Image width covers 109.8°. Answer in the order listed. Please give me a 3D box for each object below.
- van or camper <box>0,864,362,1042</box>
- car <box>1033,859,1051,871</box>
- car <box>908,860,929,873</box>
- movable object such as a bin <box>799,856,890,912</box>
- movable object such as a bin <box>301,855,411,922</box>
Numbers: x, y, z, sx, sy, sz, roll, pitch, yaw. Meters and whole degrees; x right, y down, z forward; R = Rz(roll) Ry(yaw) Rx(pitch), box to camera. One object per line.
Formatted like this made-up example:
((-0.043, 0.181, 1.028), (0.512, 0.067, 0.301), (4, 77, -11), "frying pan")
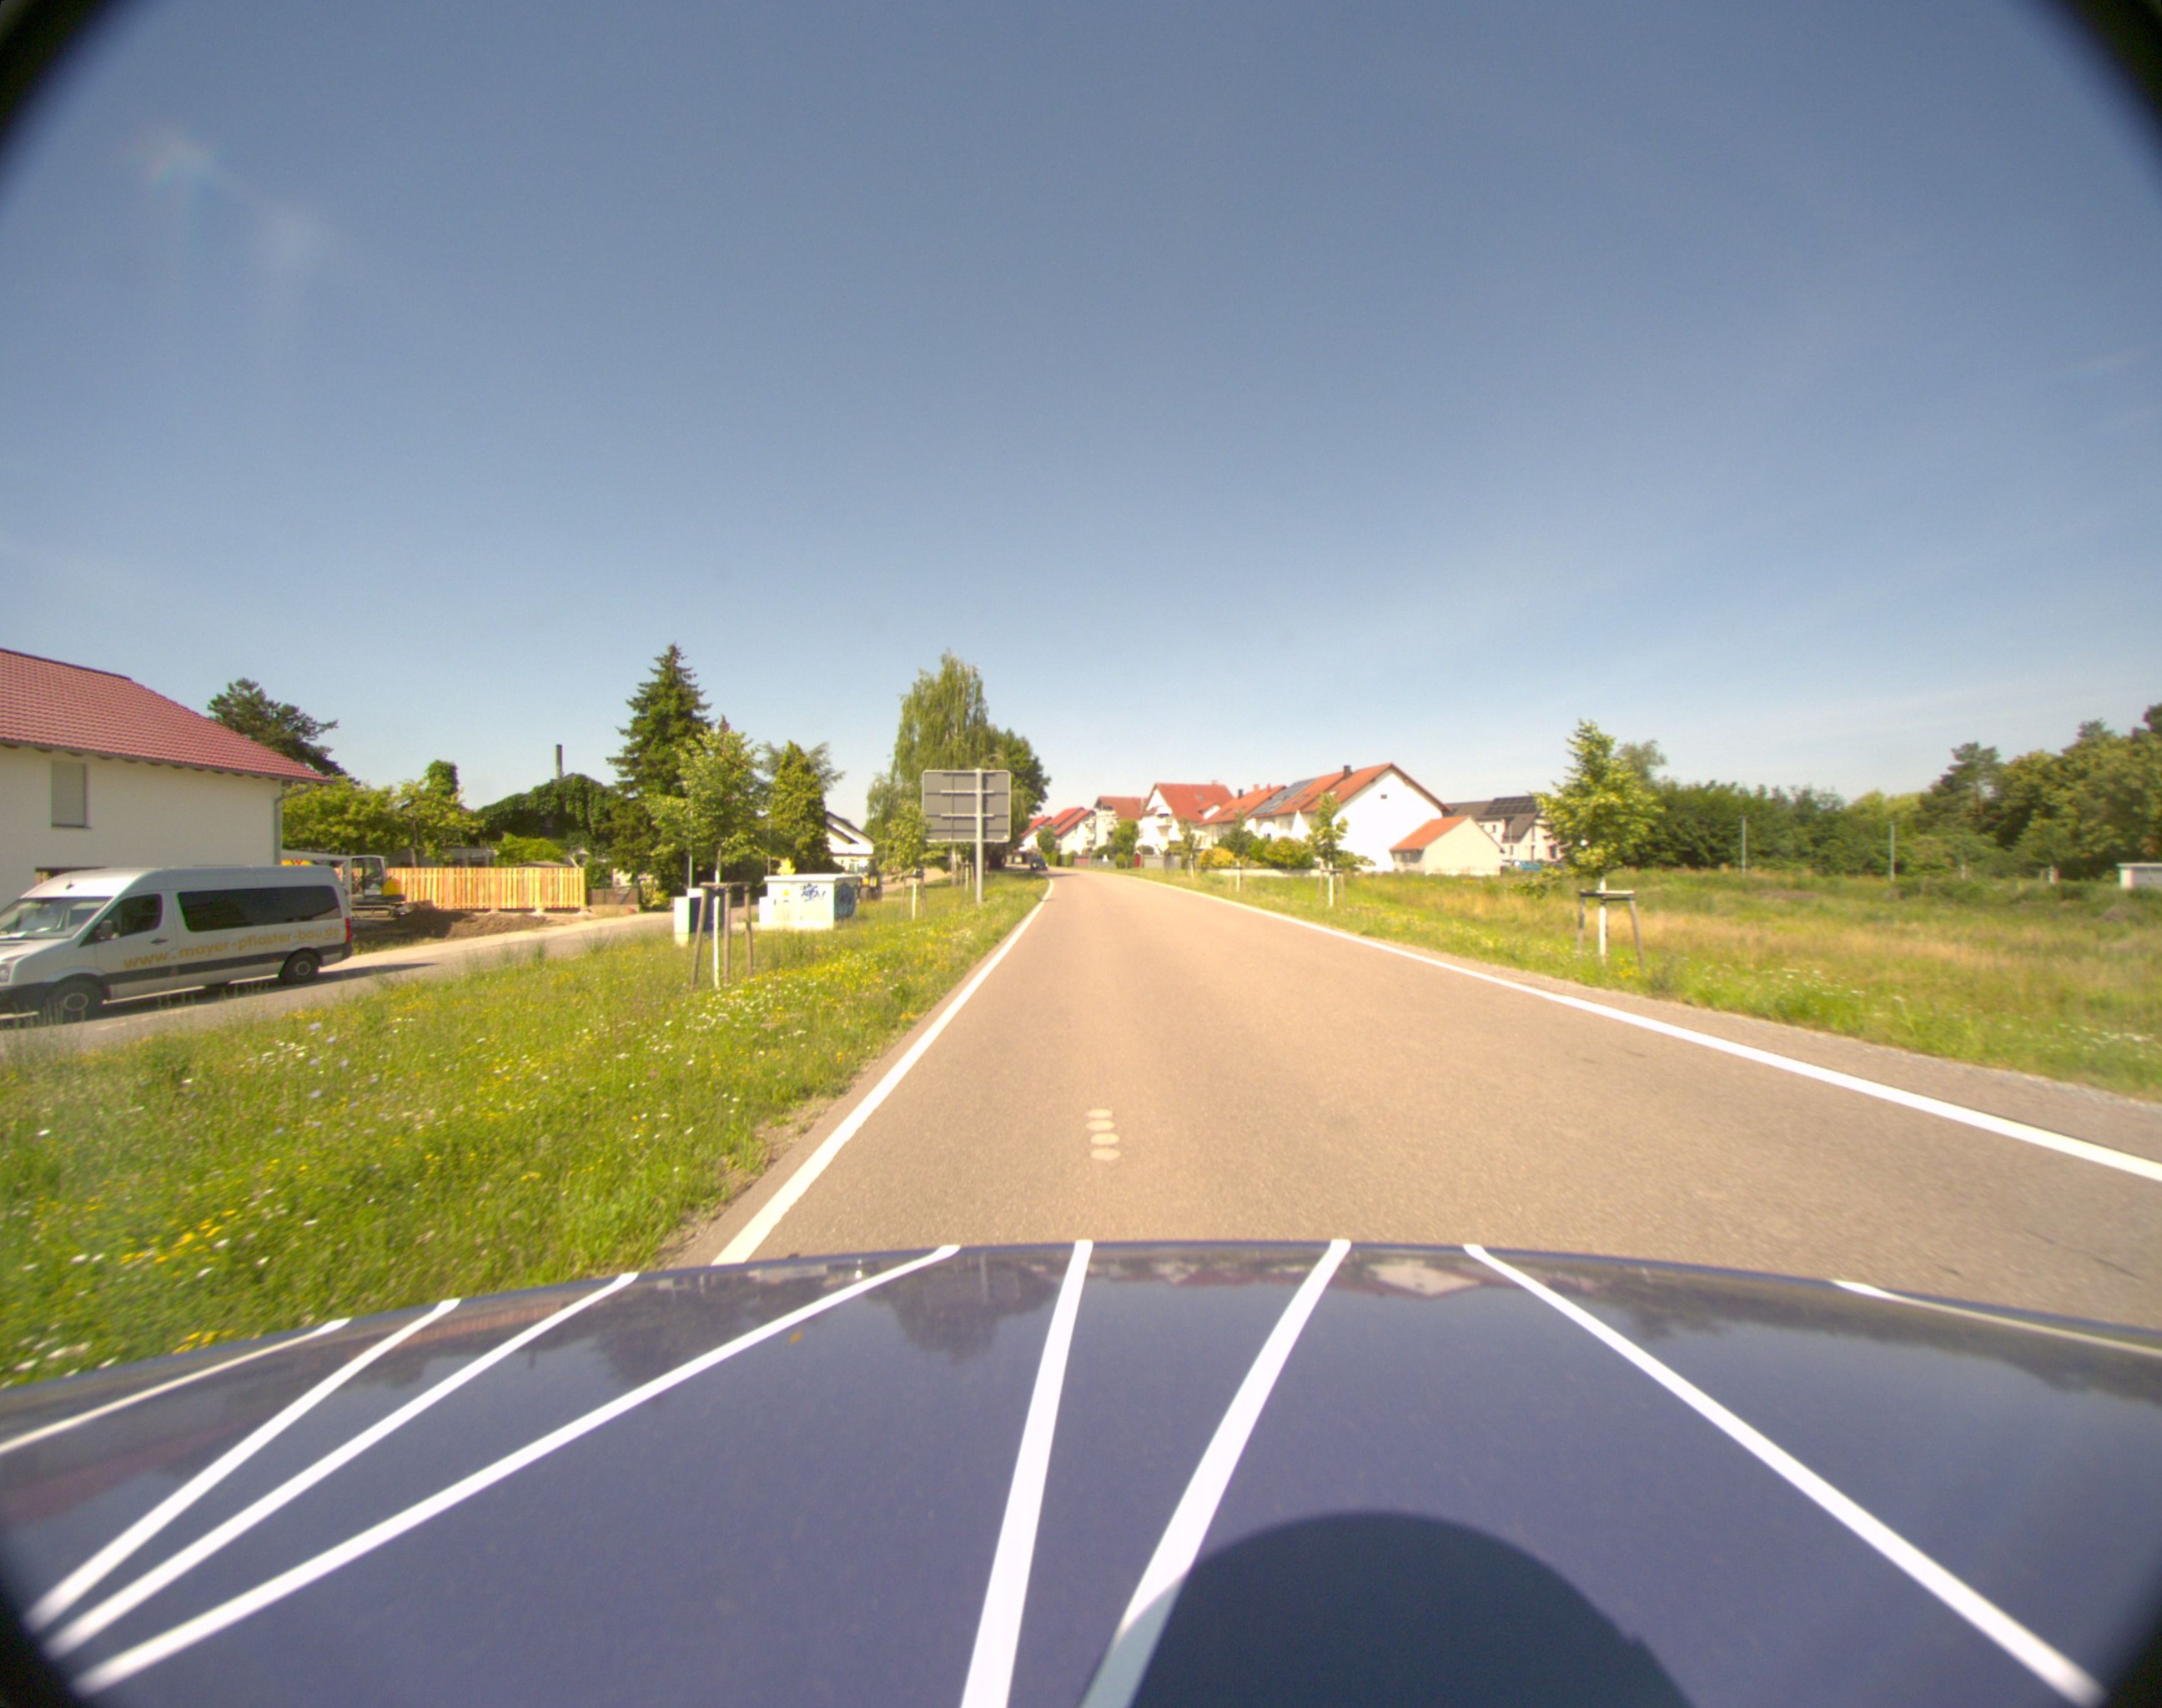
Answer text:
((-17.757, 1.591, 14.520), (2.177, 2.586, 6.030), (-1, 1, 1), "van or camper")
((-5.098, 1.421, 99.019), (1.934, 1.552, 3.997), (1, 0, -8), "car")
((-20.184, 1.493, 94.378), (1.863, 1.437, 4.167), (-2, 1, -3), "car")
((-11.705, 1.381, 38.227), (2.322, 2.449, 6.944), (-1, 1, 0), "movable object such as a bin")
((-29.145, 1.338, 30.648), (2.883, 2.542, 1.783), (-1, 0, -33), "movable object such as a bin")
